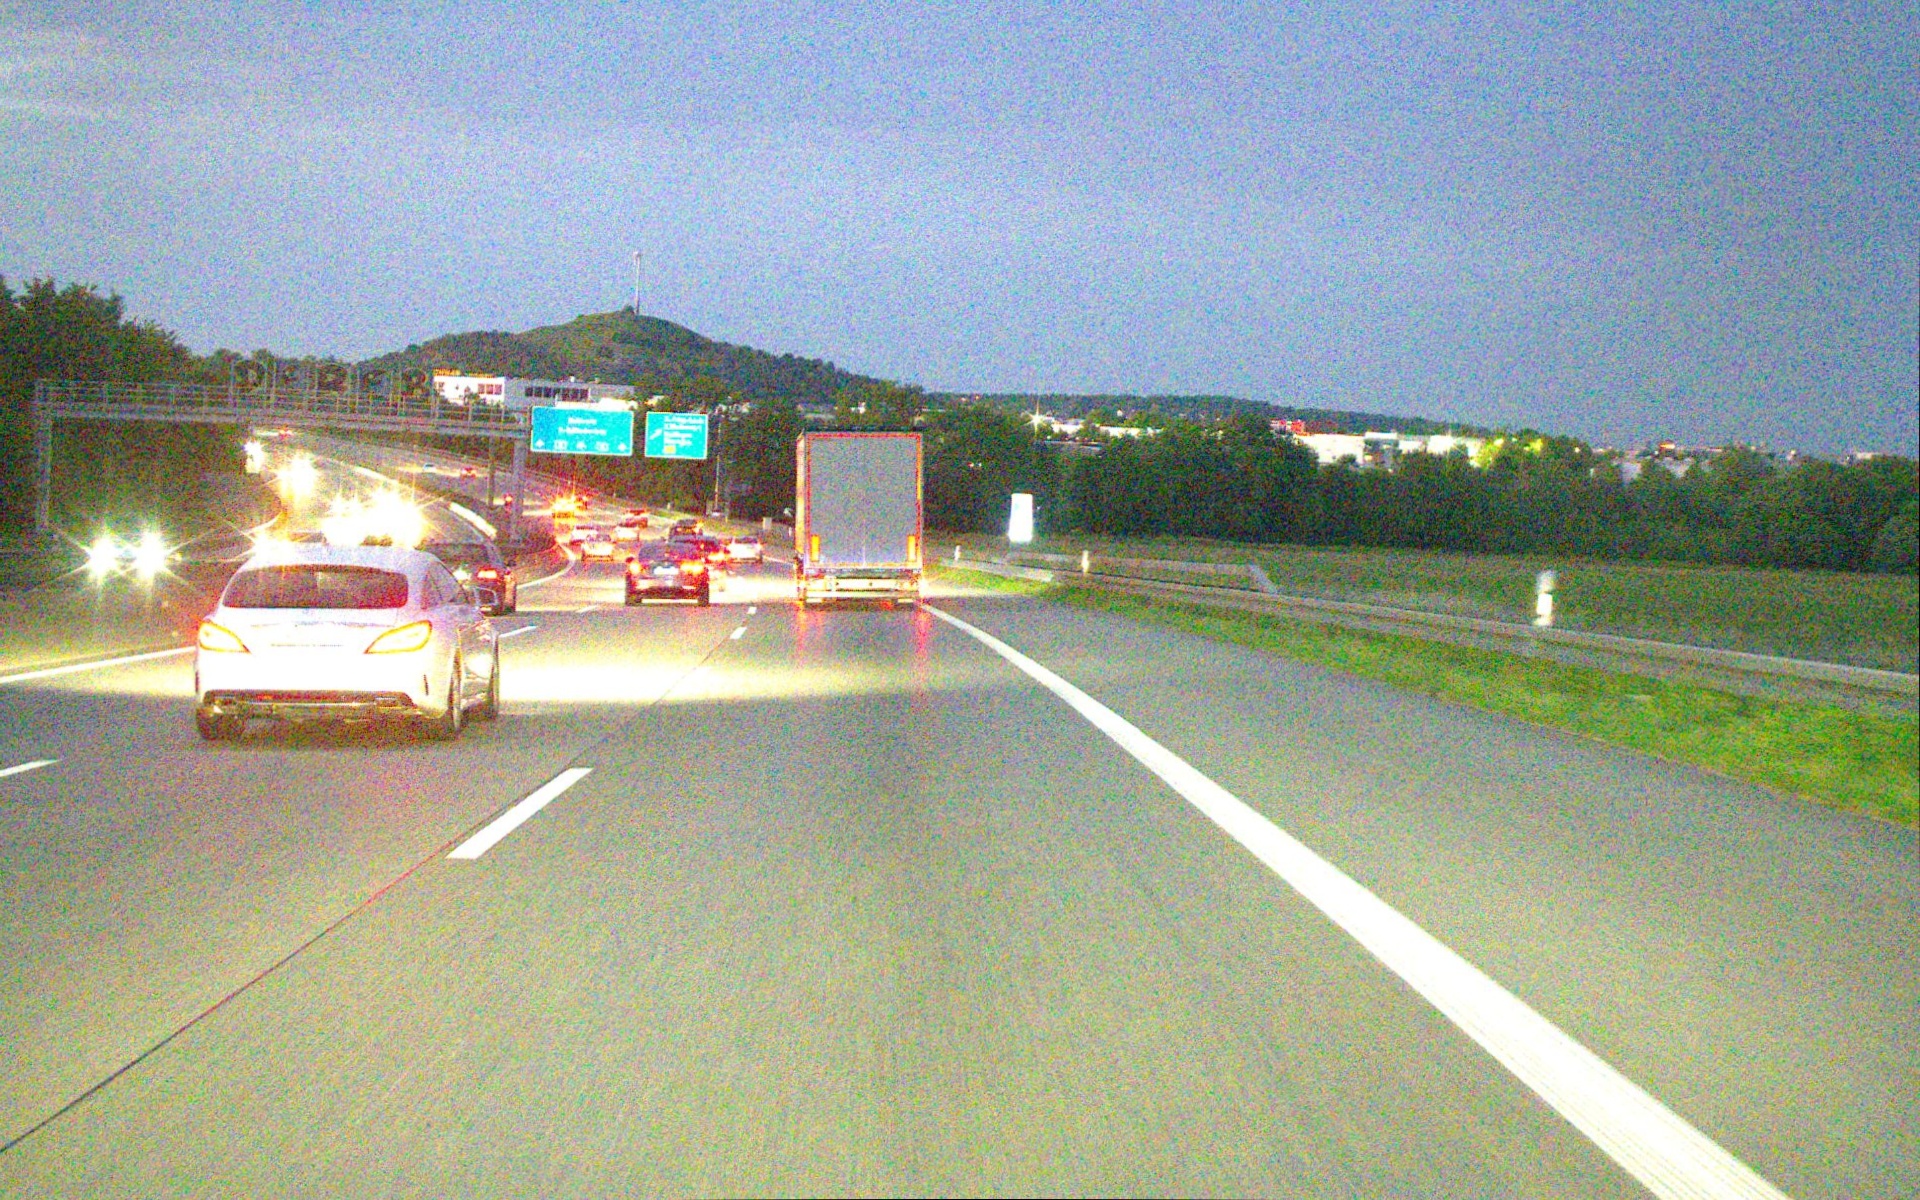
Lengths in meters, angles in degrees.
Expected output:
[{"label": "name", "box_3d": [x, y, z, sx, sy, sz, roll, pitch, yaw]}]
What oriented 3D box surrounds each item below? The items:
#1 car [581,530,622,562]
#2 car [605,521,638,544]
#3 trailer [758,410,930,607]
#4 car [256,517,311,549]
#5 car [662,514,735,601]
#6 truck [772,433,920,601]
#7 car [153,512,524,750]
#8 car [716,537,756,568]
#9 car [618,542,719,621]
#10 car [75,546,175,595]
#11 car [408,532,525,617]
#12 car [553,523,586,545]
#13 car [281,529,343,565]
[{"label": "car", "box_3d": [-18.768, -2.824, 179.698, 1.993, 1.616, 4.001, 1, 1, -7]}, {"label": "car", "box_3d": [-24.249, -4.849, 246.379, 1.993, 1.616, 4.001, 1, 1, -11]}, {"label": "trailer", "box_3d": [-2.707, -1.994, 80.082, 3.550, 4.102, 15.064, 1, 0, -2]}, {"label": "car", "box_3d": [-33.974, -3.346, 172.705, 1.993, 1.528, 5.007, 1, 1, -3]}, {"label": "car", "box_3d": [-7.421, -1.209, 97.804, 1.993, 2.372, 4.001, 1, 1, -4]}, {"label": "truck", "box_3d": [-2.908, -2.064, 87.438, 3.550, 4.077, 6.152, 1, 0, -2]}, {"label": "car", "box_3d": [-4.626, 0.183, 26.290, 1.906, 1.609, 4.804, 1, 1, 0]}, {"label": "car", "box_3d": [-11.475, -2.434, 175.753, 1.993, 1.529, 4.001, 1, 1, -4]}, {"label": "car", "box_3d": [-6.559, -0.438, 77.761, 2.065, 1.680, 4.577, 1, 1, -2]}, {"label": "car", "box_3d": [-23.831, -0.868, 98.268, 1.834, 1.331, 4.910, 1, 1, -2]}, {"label": "car", "box_3d": [-9.668, -0.514, 67.664, 1.761, 1.569, 4.577, 1, 1, -2]}, {"label": "car", "box_3d": [-26.250, -4.433, 230.935, 1.993, 1.463, 4.001, 1, 1, -9]}, {"label": "car", "box_3d": [-28.163, -2.309, 149.525, 1.993, 1.500, 4.507, 1, 1, -3]}]
